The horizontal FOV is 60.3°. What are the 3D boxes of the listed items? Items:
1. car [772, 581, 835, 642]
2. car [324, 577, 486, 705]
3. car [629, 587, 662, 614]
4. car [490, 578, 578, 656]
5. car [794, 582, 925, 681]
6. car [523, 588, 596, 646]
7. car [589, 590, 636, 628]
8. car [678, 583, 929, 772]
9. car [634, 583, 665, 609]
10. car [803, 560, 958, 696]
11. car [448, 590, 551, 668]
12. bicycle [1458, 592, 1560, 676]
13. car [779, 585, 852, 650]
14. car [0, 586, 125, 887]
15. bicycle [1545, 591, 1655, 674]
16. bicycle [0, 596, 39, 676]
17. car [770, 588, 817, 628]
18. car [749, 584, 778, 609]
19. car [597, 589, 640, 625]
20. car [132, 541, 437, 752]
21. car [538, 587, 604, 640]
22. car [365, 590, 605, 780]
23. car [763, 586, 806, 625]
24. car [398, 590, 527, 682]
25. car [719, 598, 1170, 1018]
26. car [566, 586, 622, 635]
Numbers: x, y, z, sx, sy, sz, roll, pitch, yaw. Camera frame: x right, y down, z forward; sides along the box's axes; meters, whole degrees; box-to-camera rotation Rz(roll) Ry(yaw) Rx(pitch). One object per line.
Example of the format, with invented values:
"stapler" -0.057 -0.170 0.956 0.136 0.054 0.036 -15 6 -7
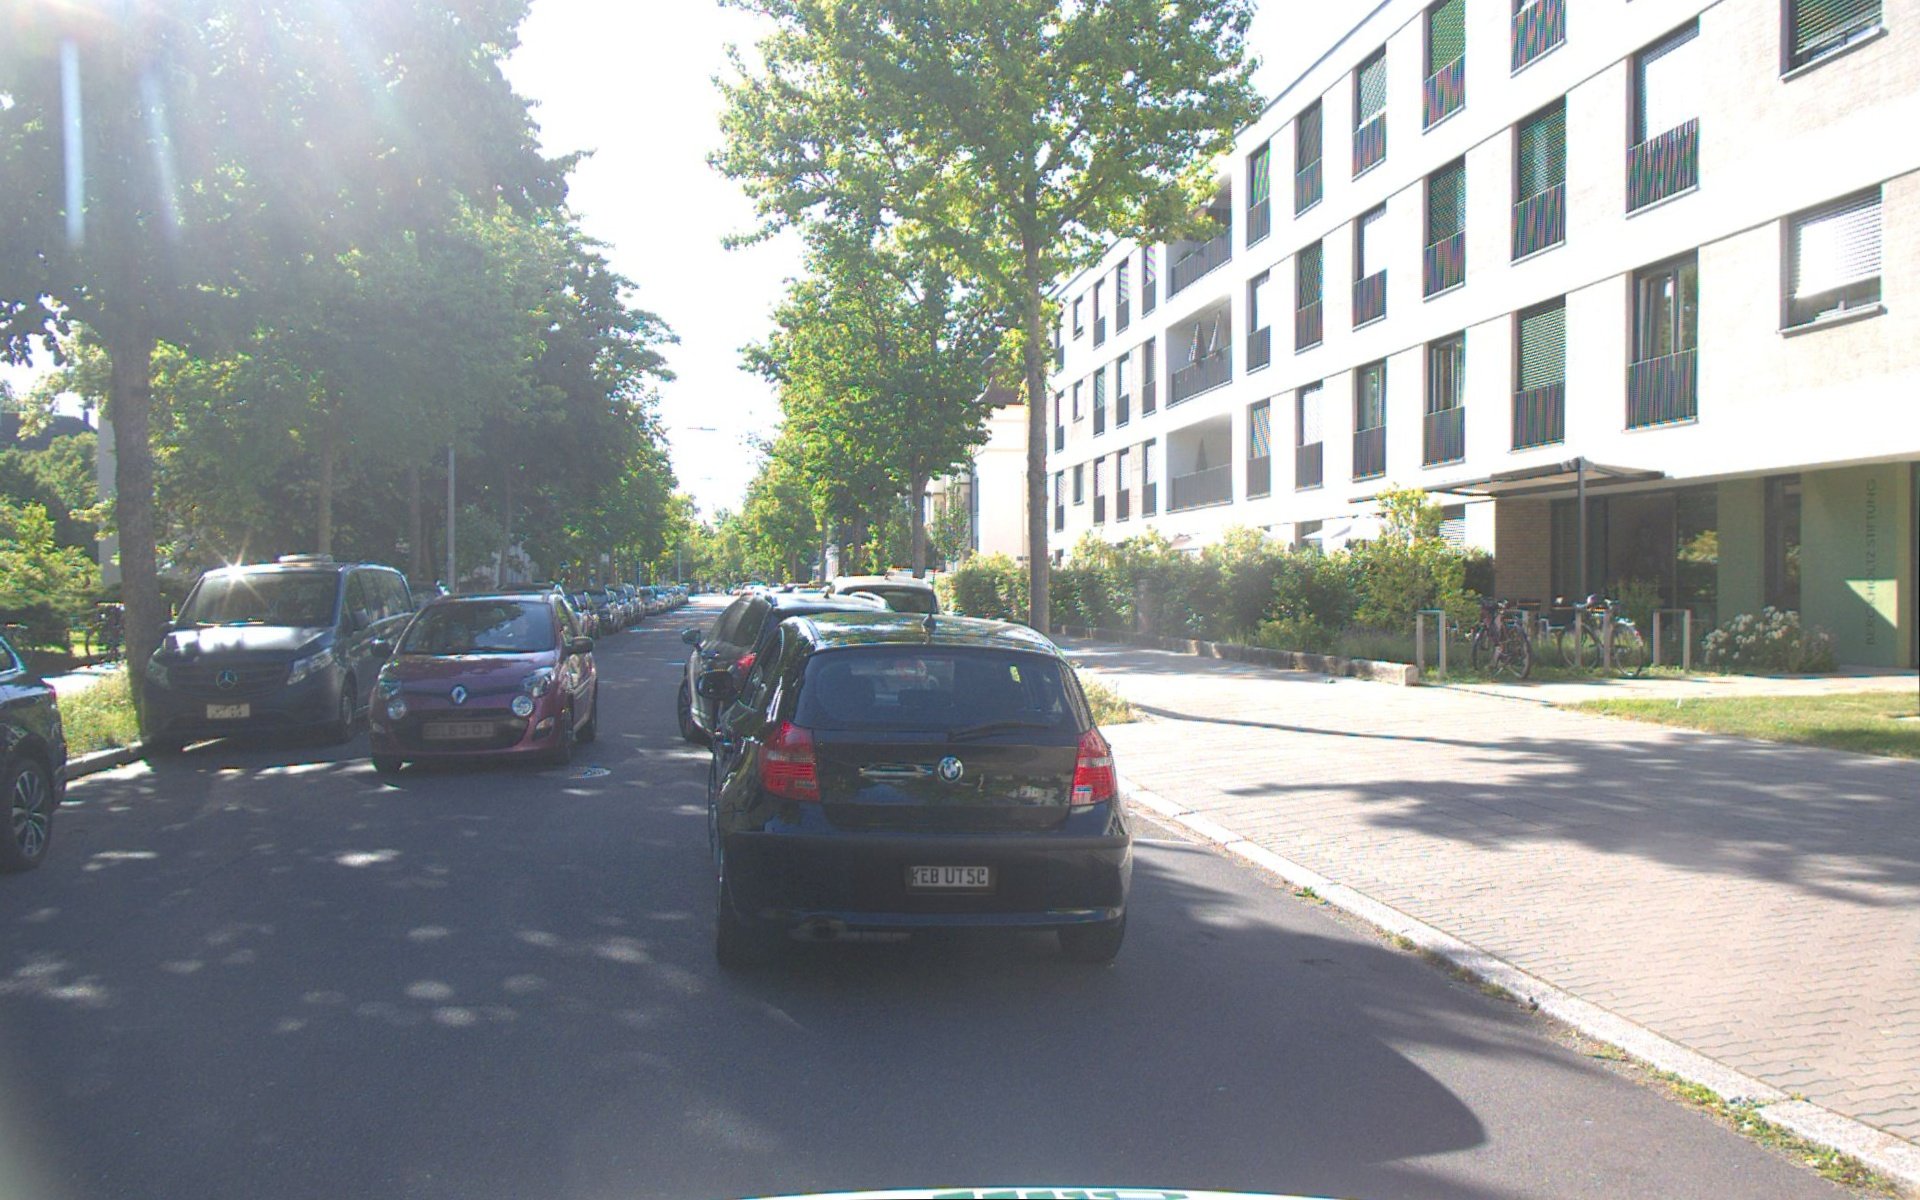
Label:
"car" -4.600 0.307 48.265 1.688 1.669 3.845 2 0 -7
"car" -7.930 0.520 23.946 1.583 1.639 4.219 -2 1 -10
"car" -17.068 0.007 89.933 1.582 1.416 3.858 -2 1 -9
"car" -10.135 0.362 39.606 1.582 1.708 4.226 -2 1 -9
"car" -1.781 0.488 28.054 1.664 1.550 3.988 0 0 -12
"car" -10.917 0.431 45.246 1.582 1.478 3.858 -2 1 -9
"car" -13.836 0.333 65.984 1.582 1.416 3.858 -2 1 -9
"car" -1.554 0.587 15.086 1.622 1.450 3.985 -1 1 -15
"car" -17.885 -0.229 95.285 1.582 1.416 3.858 -2 1 -9
"car" -1.180 0.345 22.469 1.812 1.659 4.404 0 0 -7
"car" -9.457 0.555 34.217 1.582 1.452 3.718 -2 1 -9
"bicycle" 7.361 0.439 22.260 0.536 1.073 1.687 -1 0 -11
"car" -3.741 0.412 42.331 1.688 1.555 3.994 2 0 -7
"car" -5.706 0.754 7.991 1.479 1.575 4.769 -3 1 -8
"bicycle" 8.679 0.420 22.500 0.536 1.073 1.775 -1 0 -11
"bicycle" -15.620 0.577 25.757 2.113 1.230 0.686 -1 1 -20
"car" -6.401 0.286 63.255 1.688 1.403 3.845 2 0 -7
"car" -12.208 -0.223 102.839 1.687 1.506 3.847 -1 1 -5
"car" -14.658 0.279 71.181 1.582 1.416 3.858 -2 1 -9
"car" -7.215 0.415 18.264 1.792 1.937 5.133 -2 1 -7
"car" -11.673 0.383 49.786 1.582 1.478 3.858 -2 1 -9
"car" -4.109 0.663 14.718 1.476 1.451 3.174 -1 1 -6
"car" -7.237 0.199 67.961 1.688 1.506 3.845 2 0 -7
"car" -8.693 0.576 29.190 1.582 1.452 4.050 -2 1 -9
"car" -0.282 0.733 7.658 1.619 1.421 3.405 -1 1 -9
"car" -12.484 0.344 56.641 1.582 1.570 3.858 -2 1 -9
